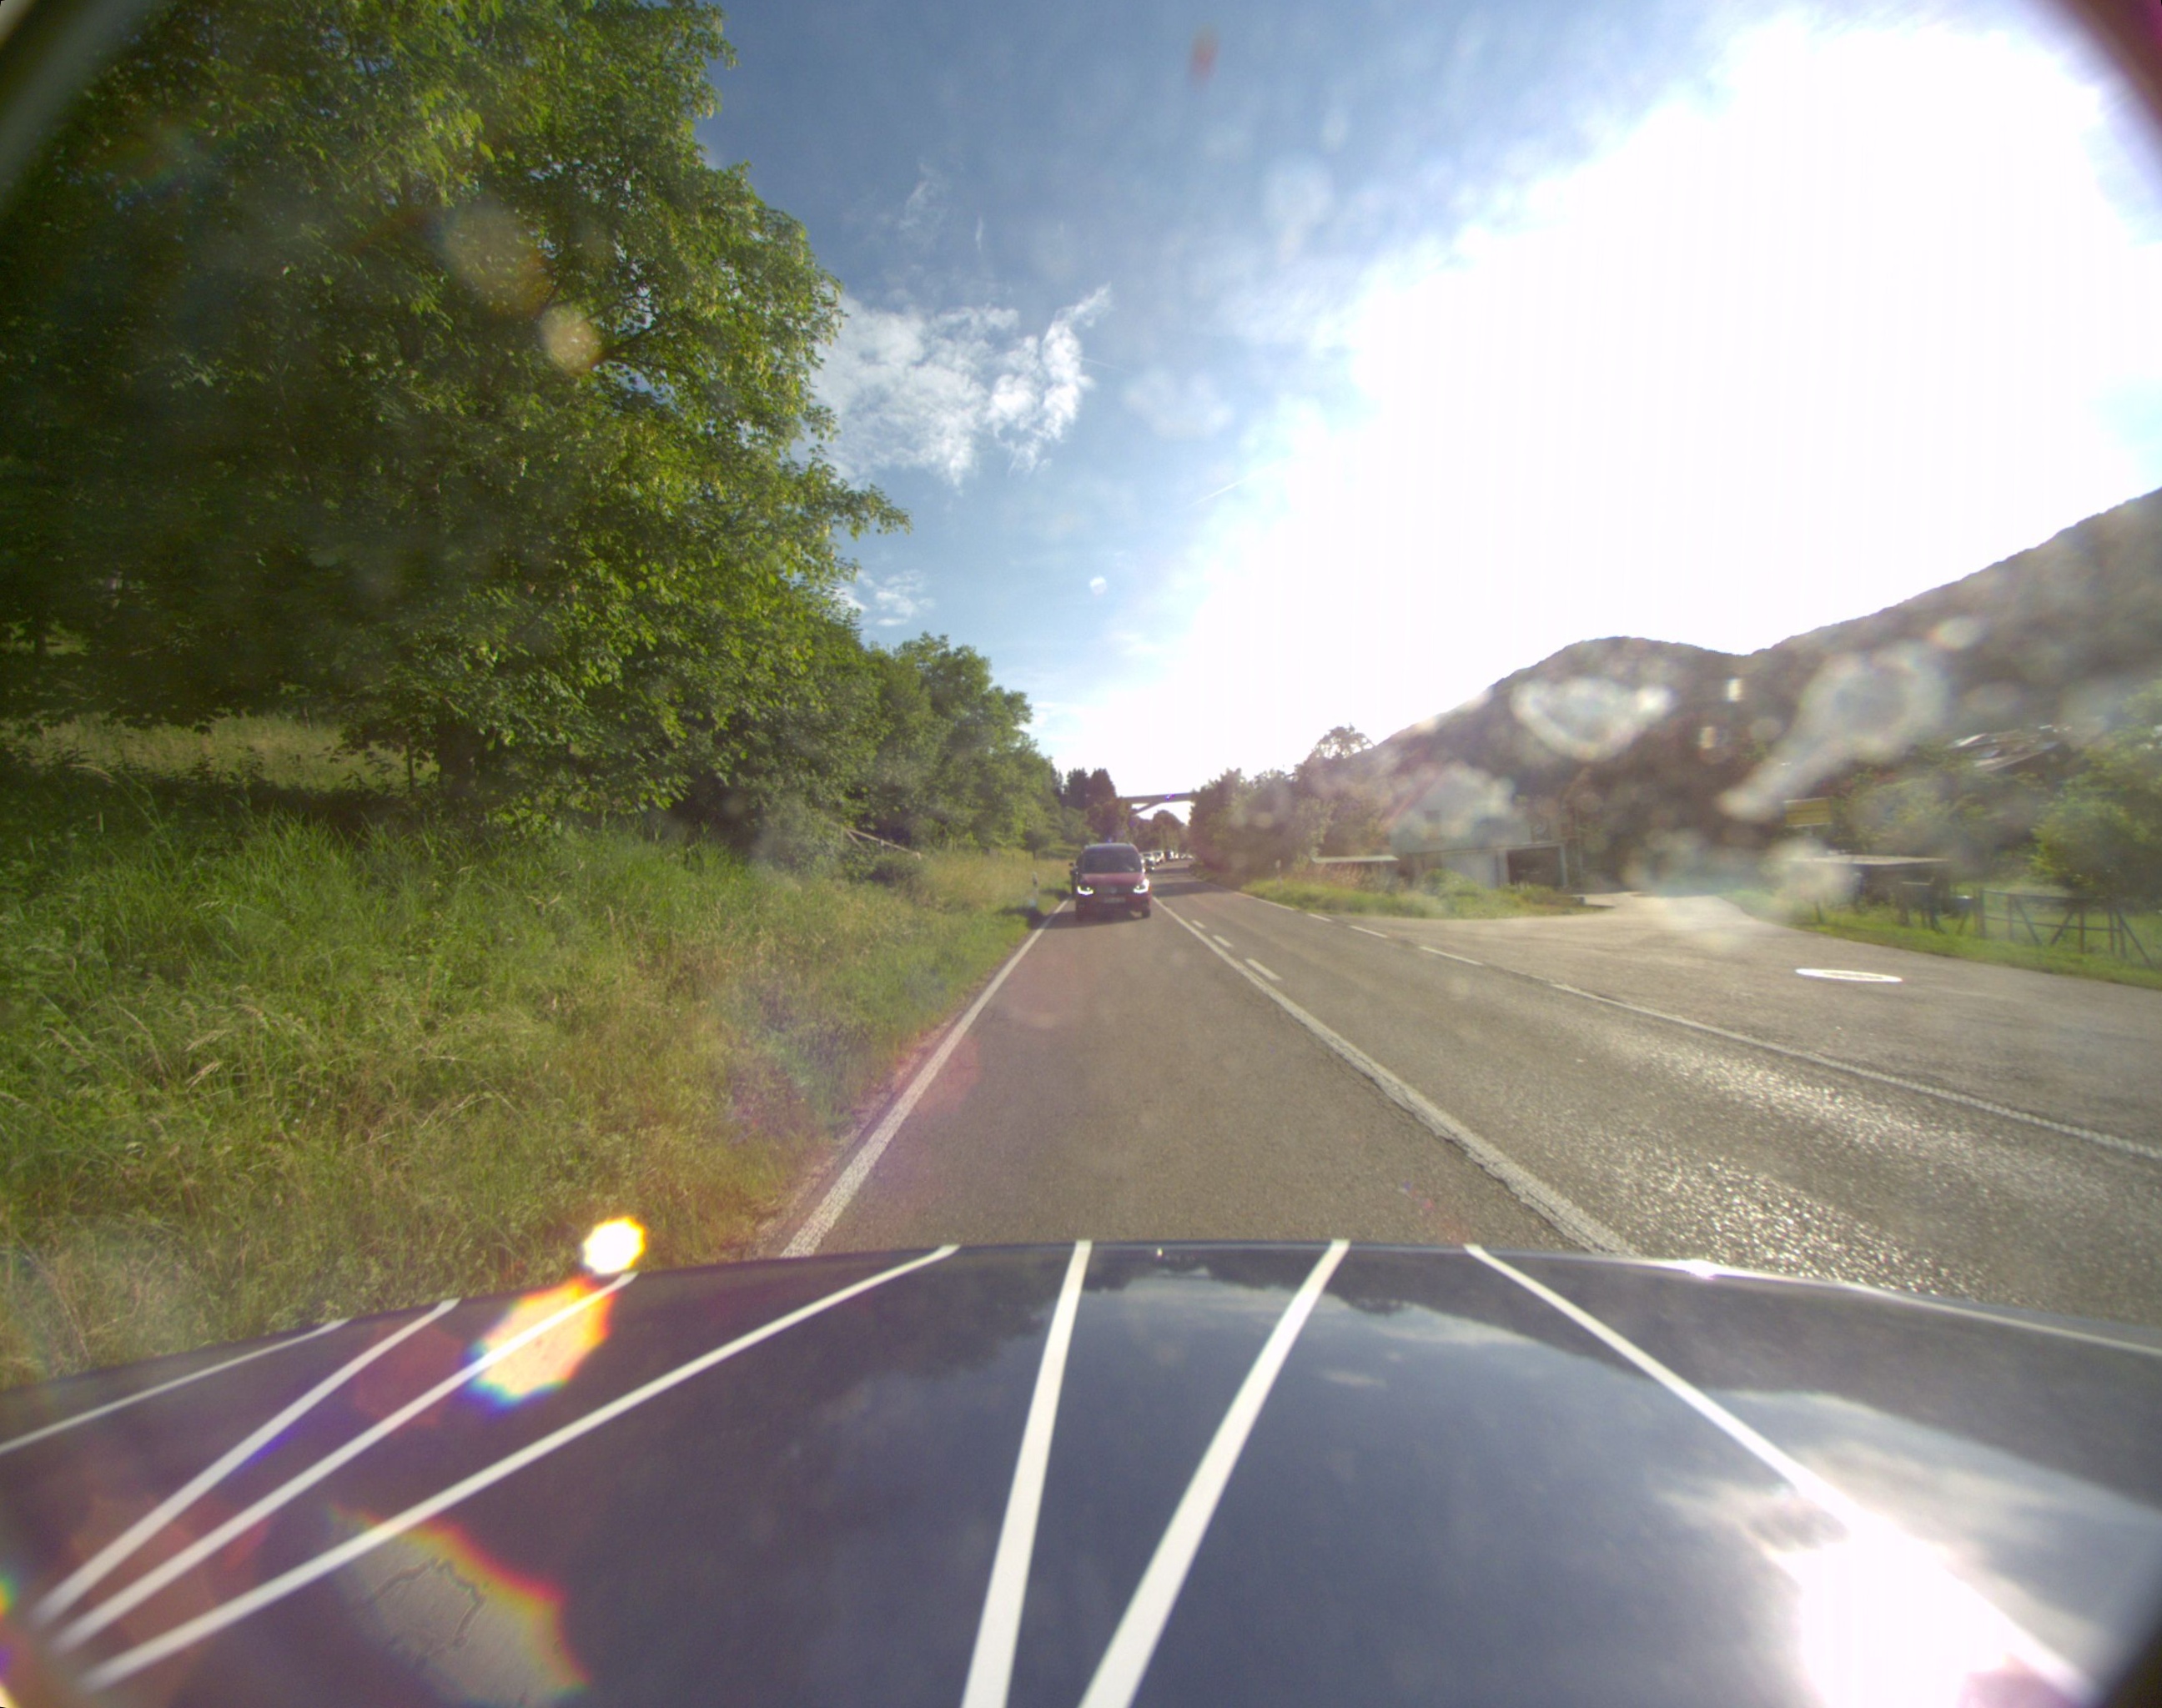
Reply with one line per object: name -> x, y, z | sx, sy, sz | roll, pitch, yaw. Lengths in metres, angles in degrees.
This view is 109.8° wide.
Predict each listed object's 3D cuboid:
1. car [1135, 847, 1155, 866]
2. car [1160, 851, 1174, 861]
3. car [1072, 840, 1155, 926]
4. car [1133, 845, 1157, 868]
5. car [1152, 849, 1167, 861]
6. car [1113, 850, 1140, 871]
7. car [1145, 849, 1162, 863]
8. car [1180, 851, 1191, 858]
car -> 7.009, 0.213, 82.767 | 1.914, 2.002, 4.002 | -1, 0, 8
car -> 13.468, 0.292, 118.806 | 1.817, 1.608, 4.003 | -1, 0, 10
car -> 0.822, 0.642, 18.874 | 1.772, 1.855, 3.876 | -2, 0, 3
car -> 6.053, 0.223, 71.177 | 1.913, 2.002, 4.002 | -1, 0, 9
car -> 10.829, 0.096, 104.613 | 1.817, 1.608, 4.003 | -1, 0, 11
car -> 3.693, 0.505, 61.507 | 1.840, 1.543, 4.180 | -1, 0, 7
car -> 8.806, 0.218, 91.928 | 1.840, 1.543, 4.180 | -1, 0, 8
car -> 23.047, 0.067, 167.691 | 1.840, 1.543, 4.182 | -1, 0, 14
